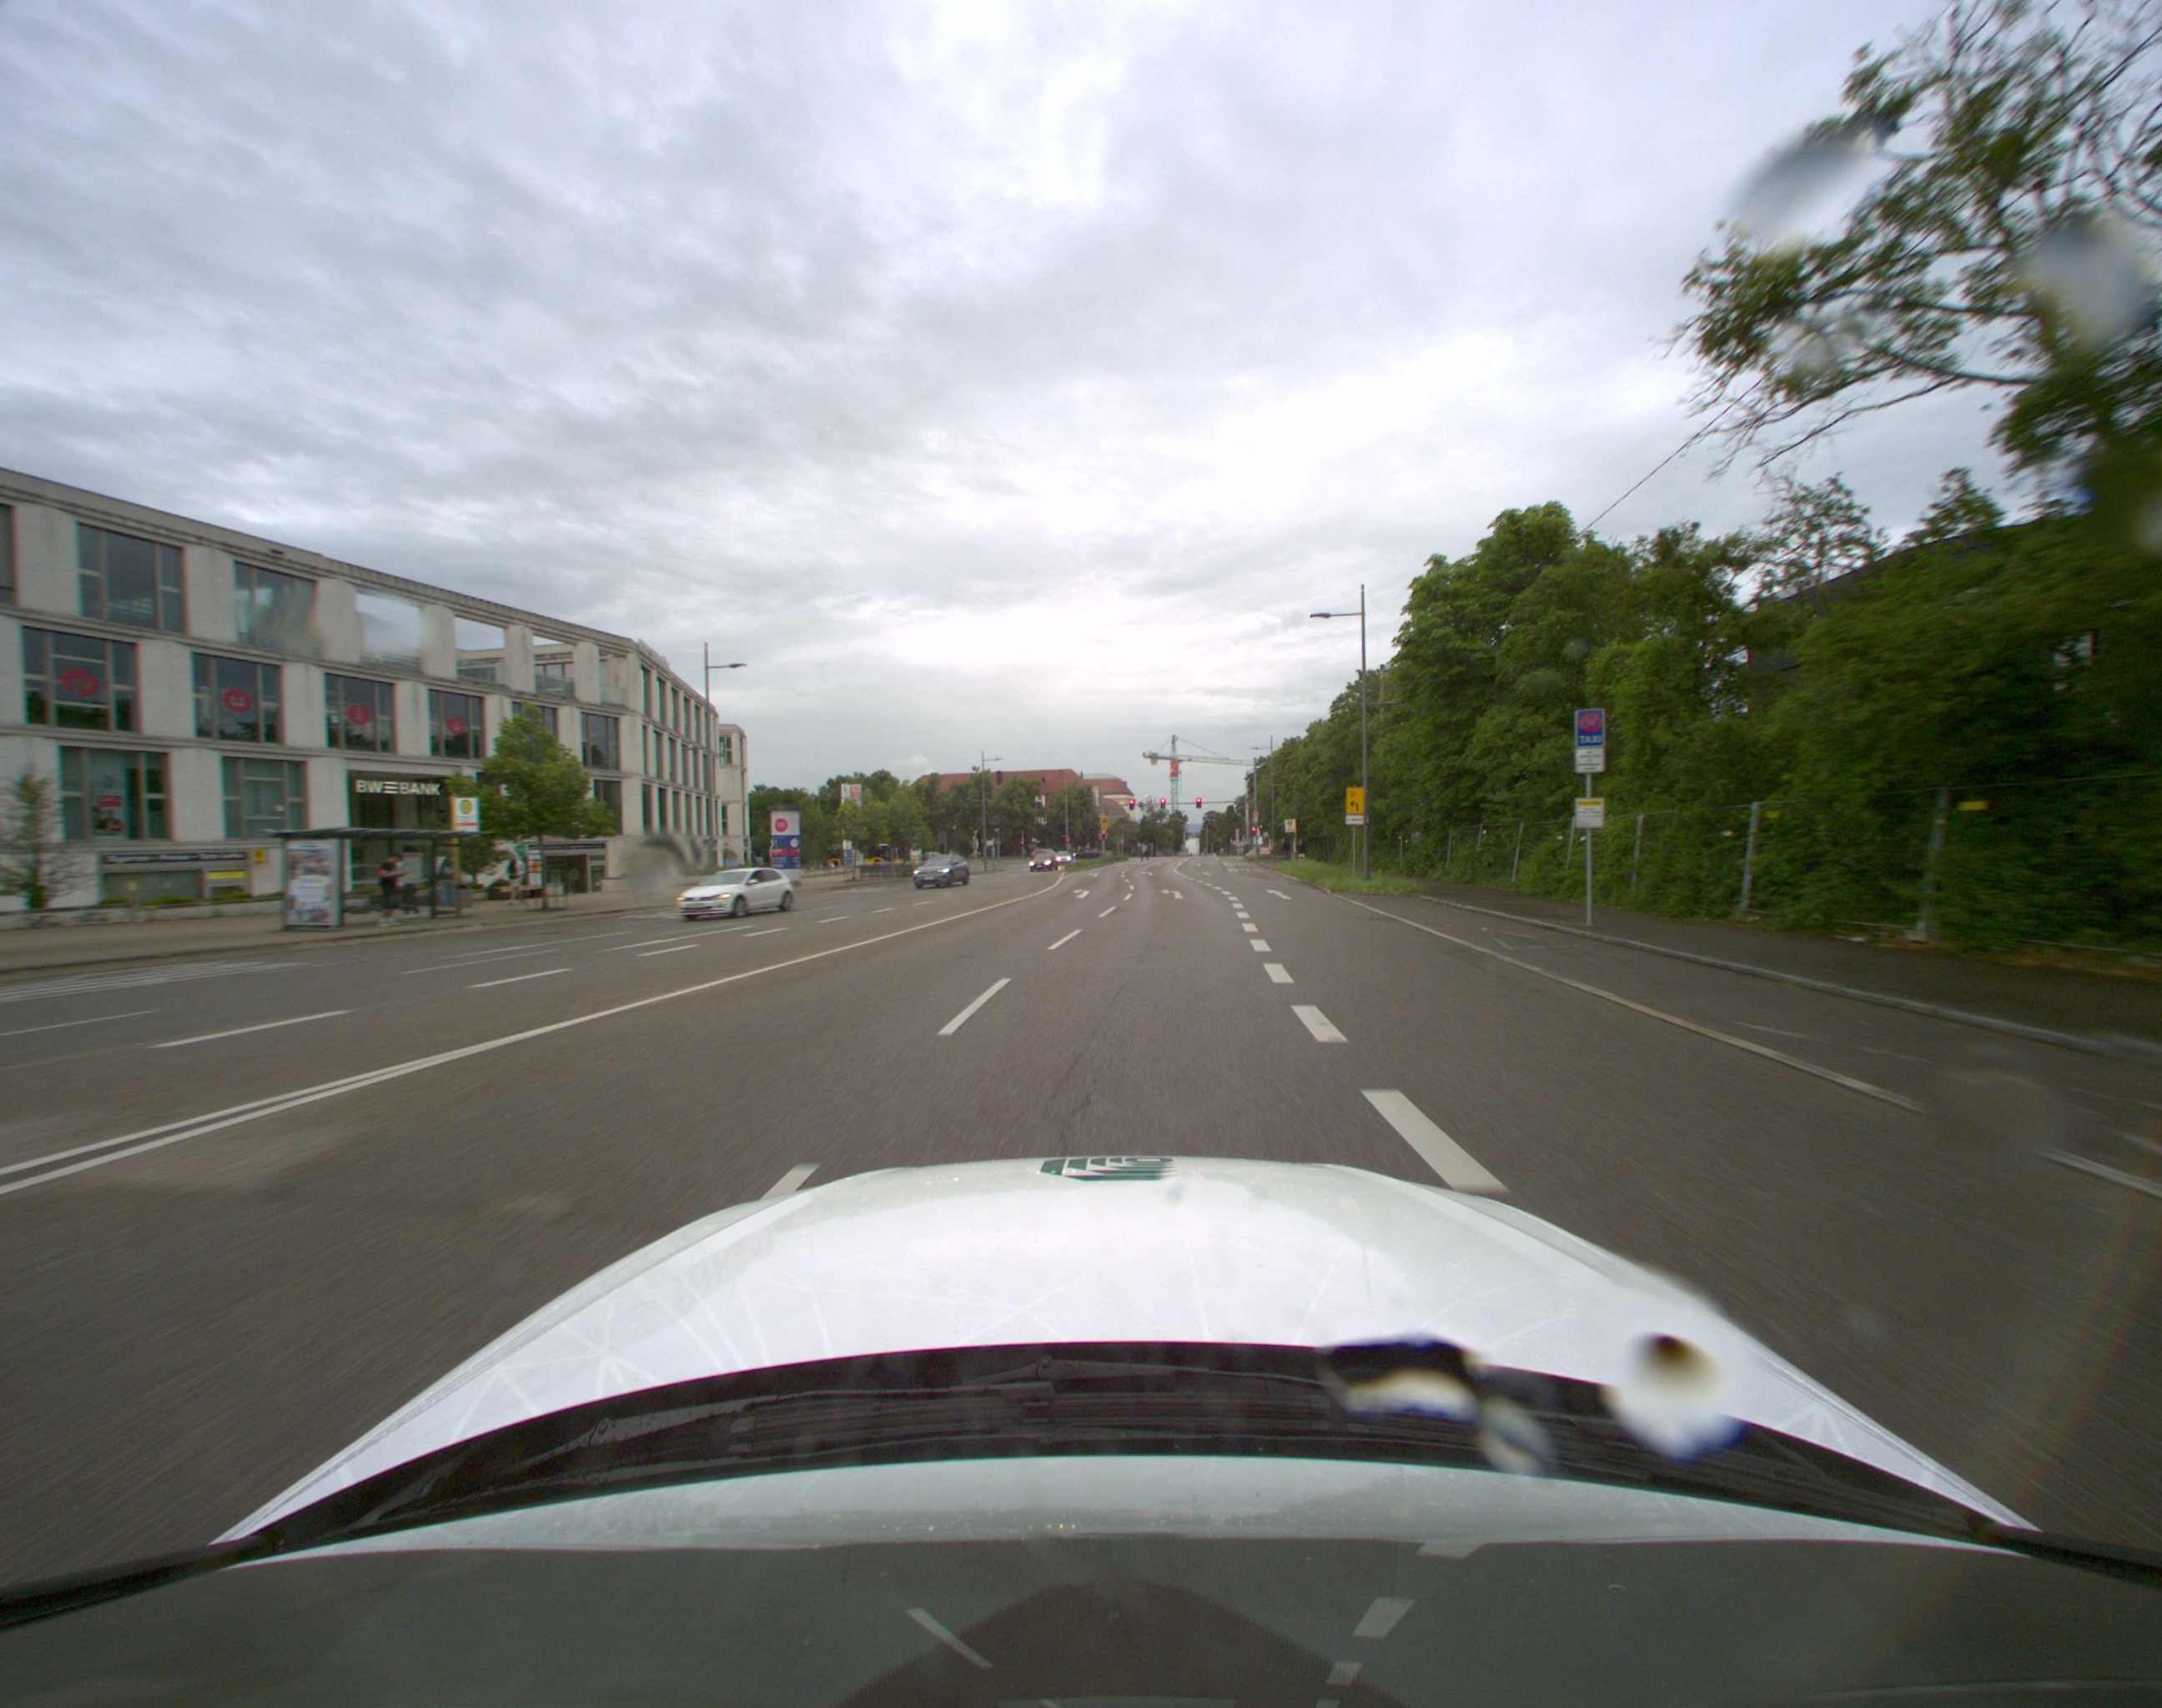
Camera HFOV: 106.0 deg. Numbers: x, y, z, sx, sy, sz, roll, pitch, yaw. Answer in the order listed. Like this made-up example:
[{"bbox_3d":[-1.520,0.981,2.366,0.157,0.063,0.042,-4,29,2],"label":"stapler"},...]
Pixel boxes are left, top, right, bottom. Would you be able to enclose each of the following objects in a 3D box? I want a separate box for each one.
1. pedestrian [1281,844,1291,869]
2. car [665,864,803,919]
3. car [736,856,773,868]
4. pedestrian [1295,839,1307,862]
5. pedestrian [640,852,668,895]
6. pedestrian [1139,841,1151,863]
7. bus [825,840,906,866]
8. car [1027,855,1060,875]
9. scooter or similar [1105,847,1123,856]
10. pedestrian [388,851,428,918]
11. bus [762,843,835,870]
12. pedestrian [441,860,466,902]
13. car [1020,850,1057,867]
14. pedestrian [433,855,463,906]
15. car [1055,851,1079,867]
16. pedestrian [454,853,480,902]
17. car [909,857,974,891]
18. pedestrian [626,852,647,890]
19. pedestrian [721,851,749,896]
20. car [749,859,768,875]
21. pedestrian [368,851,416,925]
[{"bbox_3d":[16.196,0.205,64.305,0.638,1.901,0.719,-2,0,3],"label":"pedestrian"},{"bbox_3d":[-10.398,1.078,24.805,1.862,1.430,4.186,-4,-1,9],"label":"car"},{"bbox_3d":[-41.684,1.058,103.972,3.945,1.425,1.672,-1,0,7],"label":"car"},{"bbox_3d":[16.164,-0.270,59.810,0.673,1.658,0.794,-2,0,3],"label":"pedestrian"},{"bbox_3d":[-17.997,0.803,34.343,0.594,1.762,0.860,-1,0,11],"label":"pedestrian"},{"bbox_3d":[6.163,-0.169,78.536,0.933,2.013,0.850,-4,0,14],"label":"pedestrian"},{"bbox_3d":[-27.729,-0.139,104.821,9.666,3.103,2.905,-2,0,9],"label":"bus"},{"bbox_3d":[-3.064,0.860,67.329,1.821,1.416,4.476,-4,0,9],"label":"car"},{"bbox_3d":[5.634,-0.431,139.349,3.071,1.440,0.951,-2,0,7],"label":"scooter or similar"},{"bbox_3d":[-19.162,0.861,23.197,0.577,1.856,0.608,-1,0,6],"label":"pedestrian"},{"bbox_3d":[-36.831,0.355,106.319,8.494,3.307,2.906,-2,0,10],"label":"bus"},{"bbox_3d":[-21.898,0.938,28.434,0.423,1.451,0.511,-1,0,9],"label":"pedestrian"},{"bbox_3d":[-5.024,0.505,96.050,3.948,1.917,2.013,-1,-1,31],"label":"car"},{"bbox_3d":[-21.484,0.899,27.654,0.521,1.725,0.568,-1,0,11],"label":"pedestrian"},{"bbox_3d":[-1.442,0.497,85.204,1.752,1.416,3.888,-4,0,9],"label":"car"},{"bbox_3d":[-21.961,0.849,29.133,0.423,1.725,0.622,-1,0,9],"label":"pedestrian"},{"bbox_3d":[-7.101,0.992,42.020,1.821,1.572,4.604,-4,-1,9],"label":"car"},{"bbox_3d":[-19.949,0.753,36.555,0.497,1.690,0.913,-1,0,-8],"label":"pedestrian"},{"bbox_3d":[-14.350,0.789,33.742,0.748,1.842,0.749,-1,0,11],"label":"pedestrian"},{"bbox_3d":[-37.620,1.468,95.067,1.779,1.731,3.974,-1,0,-19],"label":"car"},{"bbox_3d":[-17.512,0.860,20.710,0.504,1.842,0.757,-1,0,8],"label":"pedestrian"}]
